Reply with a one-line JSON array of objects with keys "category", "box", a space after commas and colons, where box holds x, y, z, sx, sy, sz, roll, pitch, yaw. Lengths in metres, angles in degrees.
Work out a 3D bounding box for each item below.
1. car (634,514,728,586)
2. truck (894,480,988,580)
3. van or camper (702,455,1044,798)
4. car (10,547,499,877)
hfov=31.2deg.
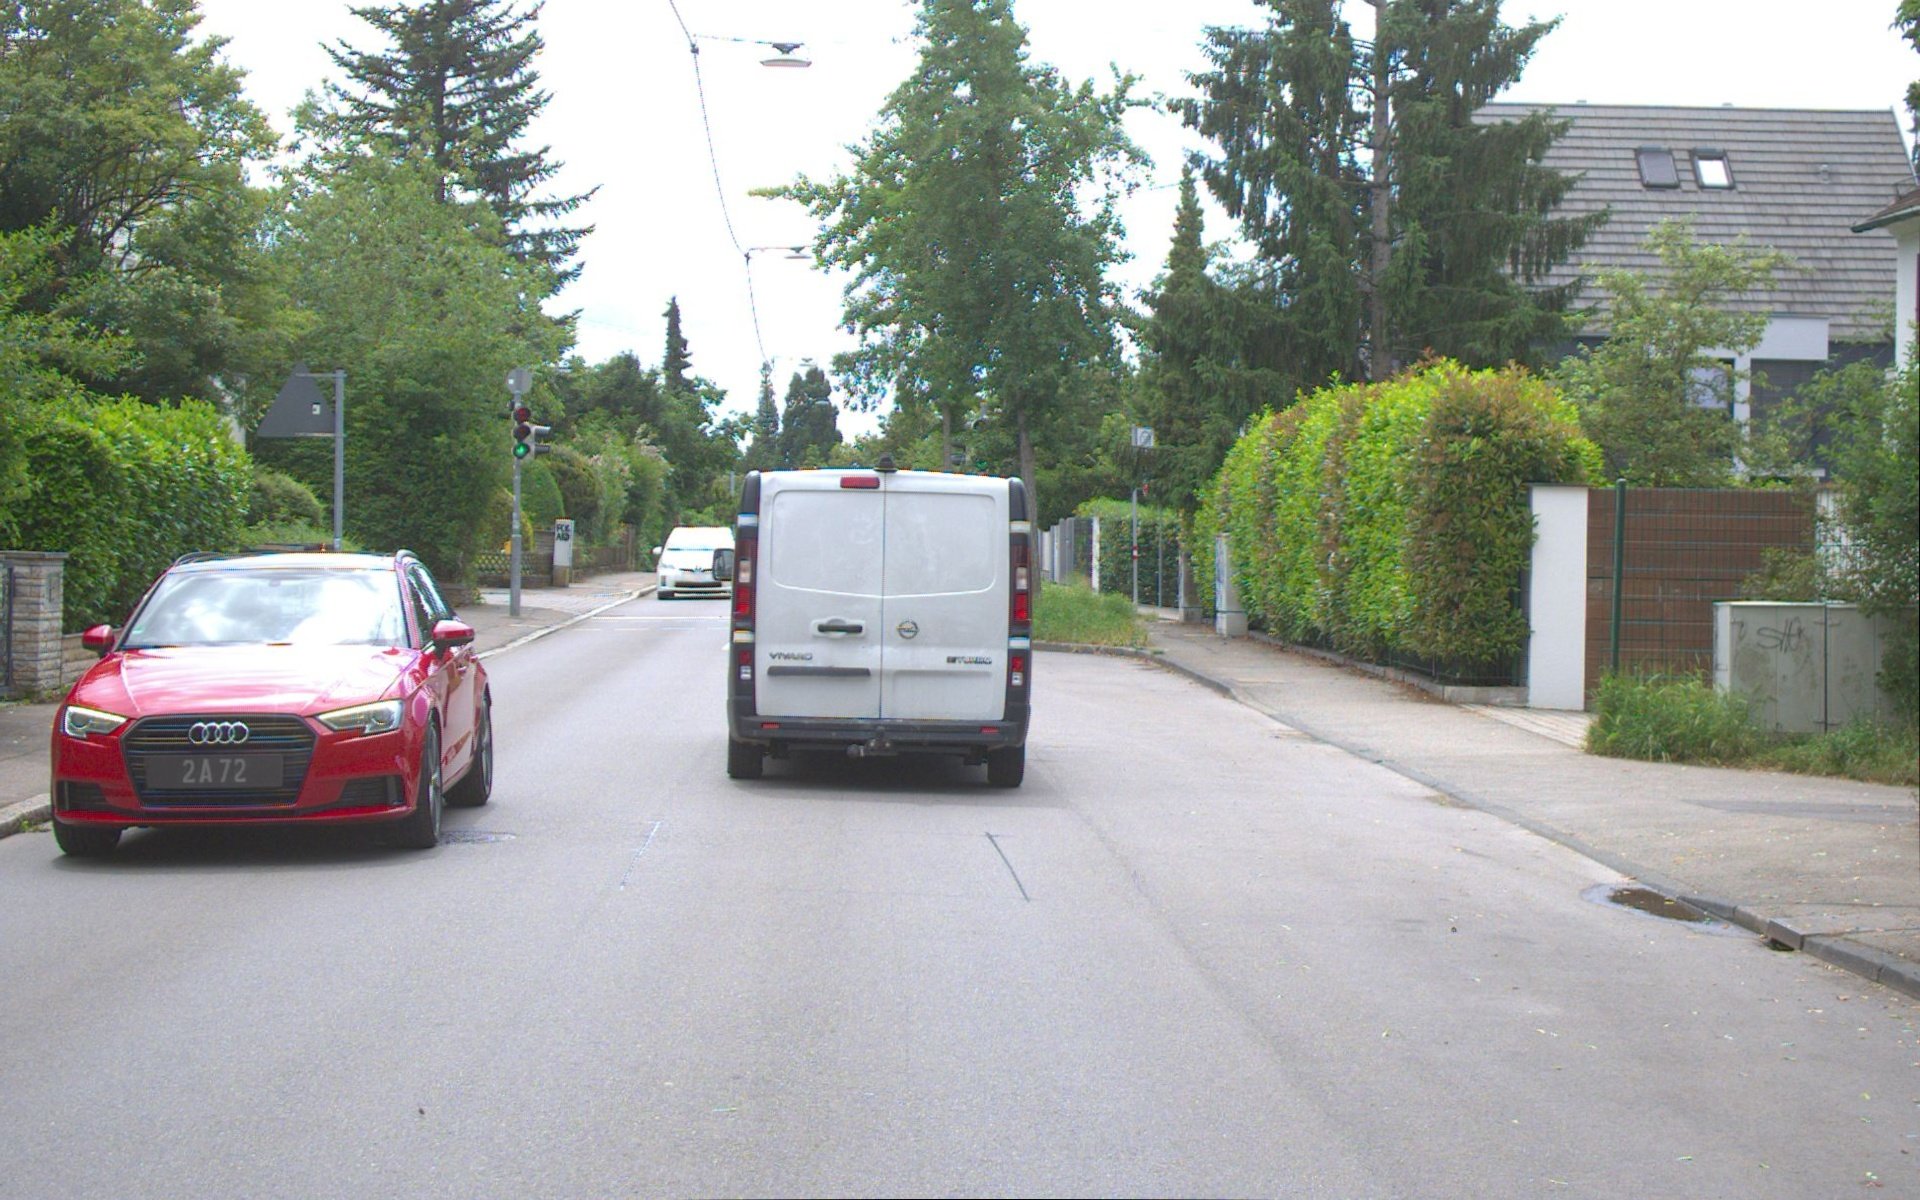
[{"category": "car", "box": [-5.826, -1.067, 72.120, 1.854, 1.446, 4.282, 0, 1, -3]}, {"category": "truck", "box": [-0.567, -1.868, 92.341, 2.187, 2.463, 7.431, 3, 1, -2]}, {"category": "van or camper", "box": [-0.620, 0.166, 22.654, 1.939, 1.947, 4.765, 2, 0, -3]}, {"category": "car", "box": [-3.431, 0.469, 17.457, 1.805, 1.426, 4.119, -1, 1, -3]}]
